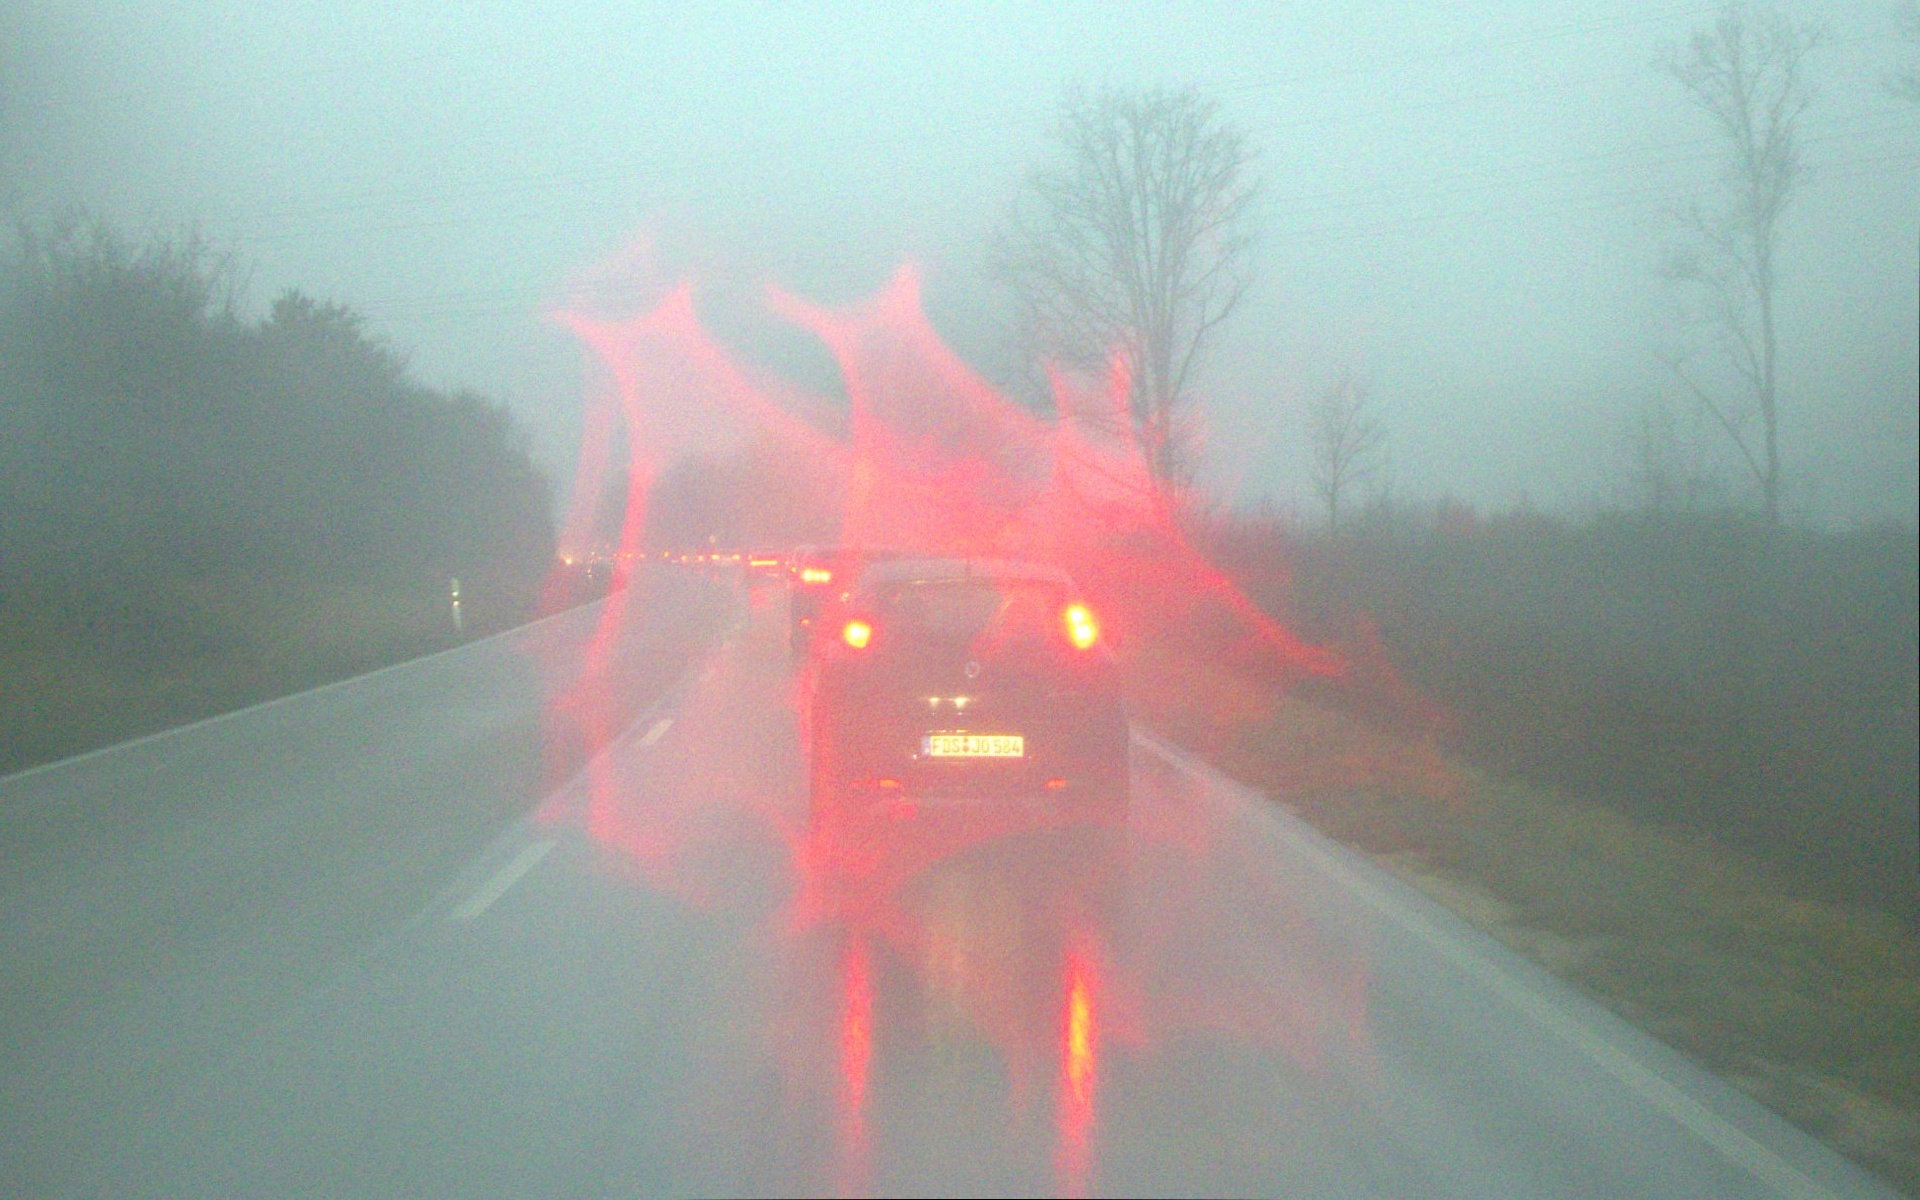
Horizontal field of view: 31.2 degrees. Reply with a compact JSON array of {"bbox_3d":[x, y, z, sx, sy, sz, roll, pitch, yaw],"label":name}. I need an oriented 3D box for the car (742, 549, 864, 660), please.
[{"bbox_3d":[-2.070,0.030,45.903,1.547,1.392,3.870,1,1,-2],"label":"car"}]

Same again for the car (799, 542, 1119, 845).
[{"bbox_3d":[0.024,0.441,19.339,1.602,1.517,3.869,1,1,1],"label":"car"}]

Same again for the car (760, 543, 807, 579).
[{"bbox_3d":[-7.037,-1.577,137.210,1.547,1.392,3.869,1,1,2],"label":"car"}]
